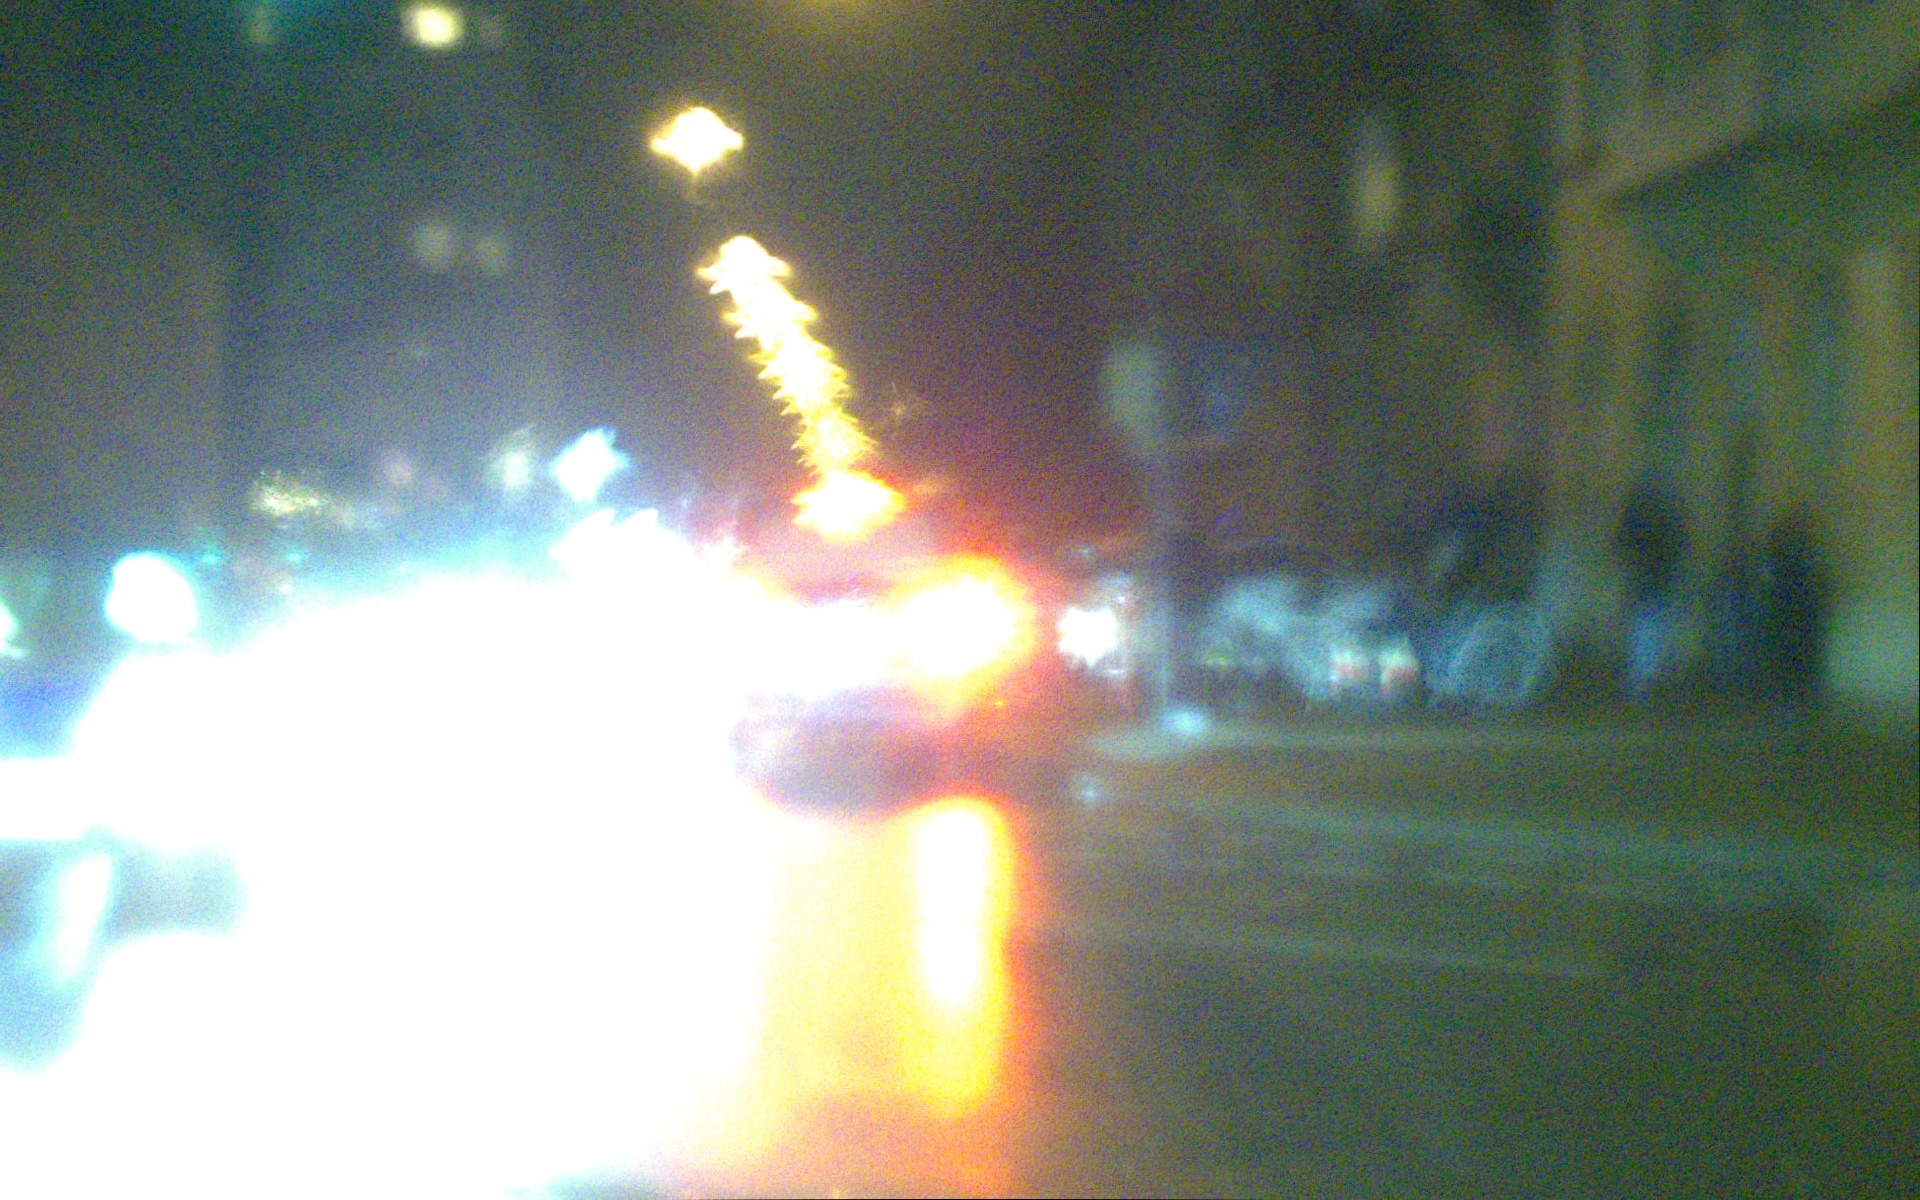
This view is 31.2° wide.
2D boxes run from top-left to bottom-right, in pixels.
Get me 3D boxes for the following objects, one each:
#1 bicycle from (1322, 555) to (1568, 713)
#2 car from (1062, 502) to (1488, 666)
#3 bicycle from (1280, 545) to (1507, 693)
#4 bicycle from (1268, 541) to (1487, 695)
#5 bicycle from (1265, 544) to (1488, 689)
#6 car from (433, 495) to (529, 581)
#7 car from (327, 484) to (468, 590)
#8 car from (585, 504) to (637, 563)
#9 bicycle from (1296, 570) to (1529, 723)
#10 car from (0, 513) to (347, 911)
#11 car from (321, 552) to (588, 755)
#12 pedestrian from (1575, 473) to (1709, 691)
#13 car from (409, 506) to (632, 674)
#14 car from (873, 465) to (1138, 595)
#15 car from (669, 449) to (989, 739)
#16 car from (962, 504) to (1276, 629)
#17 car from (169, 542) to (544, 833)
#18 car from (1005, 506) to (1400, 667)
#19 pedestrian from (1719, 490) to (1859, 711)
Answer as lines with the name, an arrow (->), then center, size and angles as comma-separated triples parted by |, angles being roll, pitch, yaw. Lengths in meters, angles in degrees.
bicycle -> 4.083, 0.280, 29.002 | 1.896, 1.247, 0.711 | -2, 1, -6
car -> 3.232, -0.206, 34.813 | 4.174, 1.452, 1.857 | -3, 3, -39
bicycle -> 3.868, 0.163, 30.726 | 1.896, 1.247, 0.596 | -2, 1, -6
bicycle -> 3.881, 0.158, 31.986 | 1.896, 1.355, 0.596 | -2, 1, -6
bicycle -> 3.798, 0.146, 31.373 | 1.896, 1.247, 0.596 | -2, 1, -6
car -> -11.336, -1.484, 81.186 | 1.724, 1.965, 3.729 | 0, 2, -16
car -> -10.902, -1.238, 66.410 | 1.990, 1.965, 4.303 | 0, 2, -19
car -> -11.856, -2.287, 117.029 | 1.724, 1.965, 4.222 | 0, 2, -5
bicycle -> 3.949, 0.396, 30.032 | 1.896, 1.247, 0.596 | -2, 1, -6
car -> -3.821, 0.386, 15.343 | 1.706, 1.537, 3.990 | 0, 2, -4
car -> -3.890, 0.362, 27.003 | 1.668, 1.416, 4.098 | 0, 2, -2
pedestrian -> 5.957, -0.172, 30.075 | 0.957, 1.875, 1.000 | 0, 2, -1
car -> -4.272, -0.156, 34.007 | 1.787, 1.548, 4.855 | 0, 2, -2
car -> 0.931, -1.409, 67.858 | 4.996, 2.383, 2.139 | -3, 3, -39
car -> -0.955, -0.106, 25.598 | 2.168, 1.965, 4.302 | 0, 2, -2
car -> 2.306, -0.514, 49.873 | 4.171, 1.639, 1.770 | -2, 2, -22
car -> -3.550, 0.448, 20.850 | 1.668, 1.557, 4.008 | 0, 2, -1
car -> 2.719, -0.193, 37.984 | 4.174, 1.571, 1.881 | -3, 3, -39
pedestrian -> 6.168, -0.010, 25.625 | 0.781, 1.612, 1.000 | 0, 2, -1
